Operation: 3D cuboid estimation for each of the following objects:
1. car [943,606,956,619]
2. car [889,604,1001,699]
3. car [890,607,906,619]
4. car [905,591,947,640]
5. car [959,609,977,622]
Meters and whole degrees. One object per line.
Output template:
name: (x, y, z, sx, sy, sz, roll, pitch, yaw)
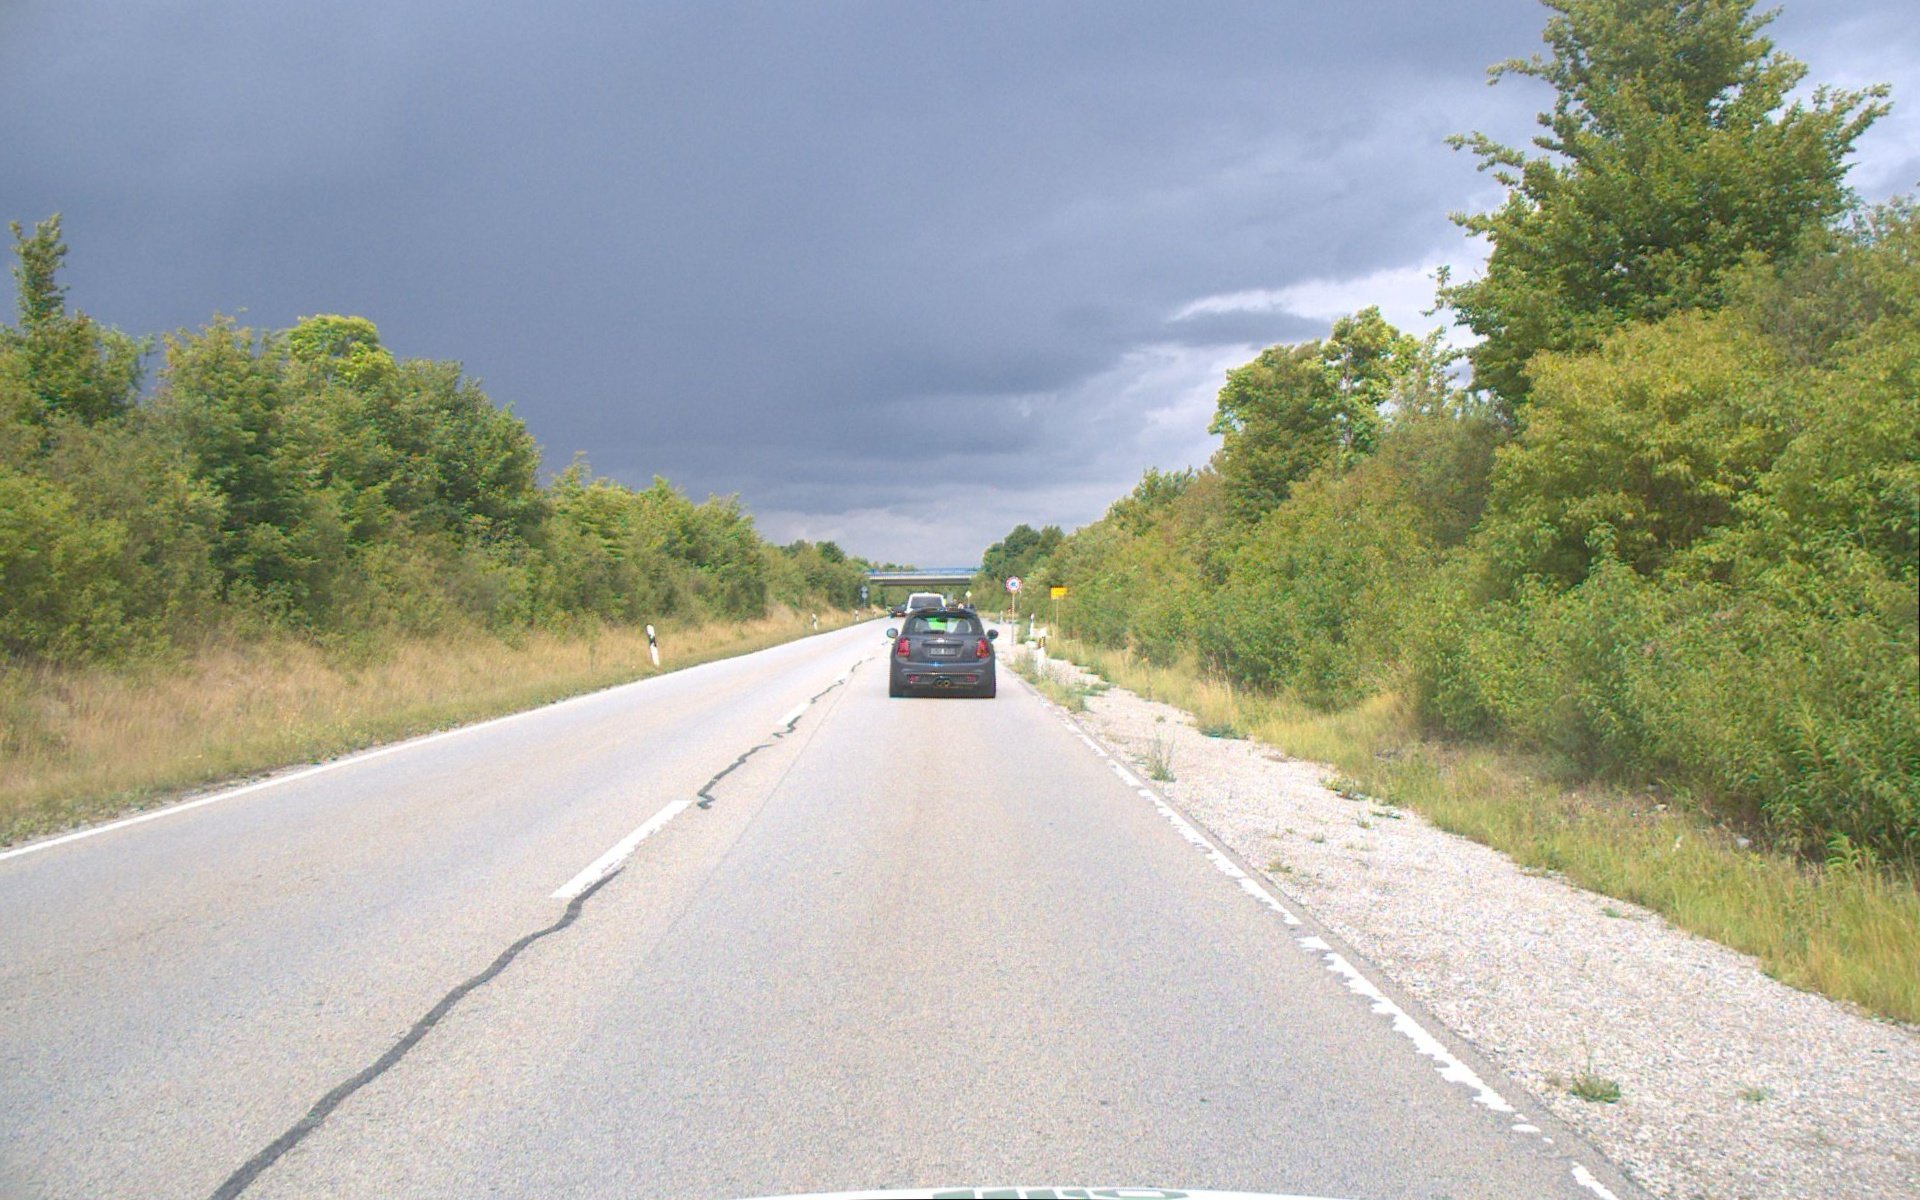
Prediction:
car: (-1.470, 1.780, 231.712, 1.745, 1.736, 3.998, 1, 0, -3)
car: (-0.266, 0.814, 27.702, 1.721, 1.452, 3.999, 1, 0, -1)
car: (-6.921, 1.434, 184.569, 1.666, 1.353, 3.999, -1, 0, -2)
car: (-1.508, 0.695, 73.774, 1.782, 2.090, 3.999, 1, 0, -1)
car: (0.949, 1.931, 205.509, 1.954, 1.579, 3.997, 1, 0, -3)
